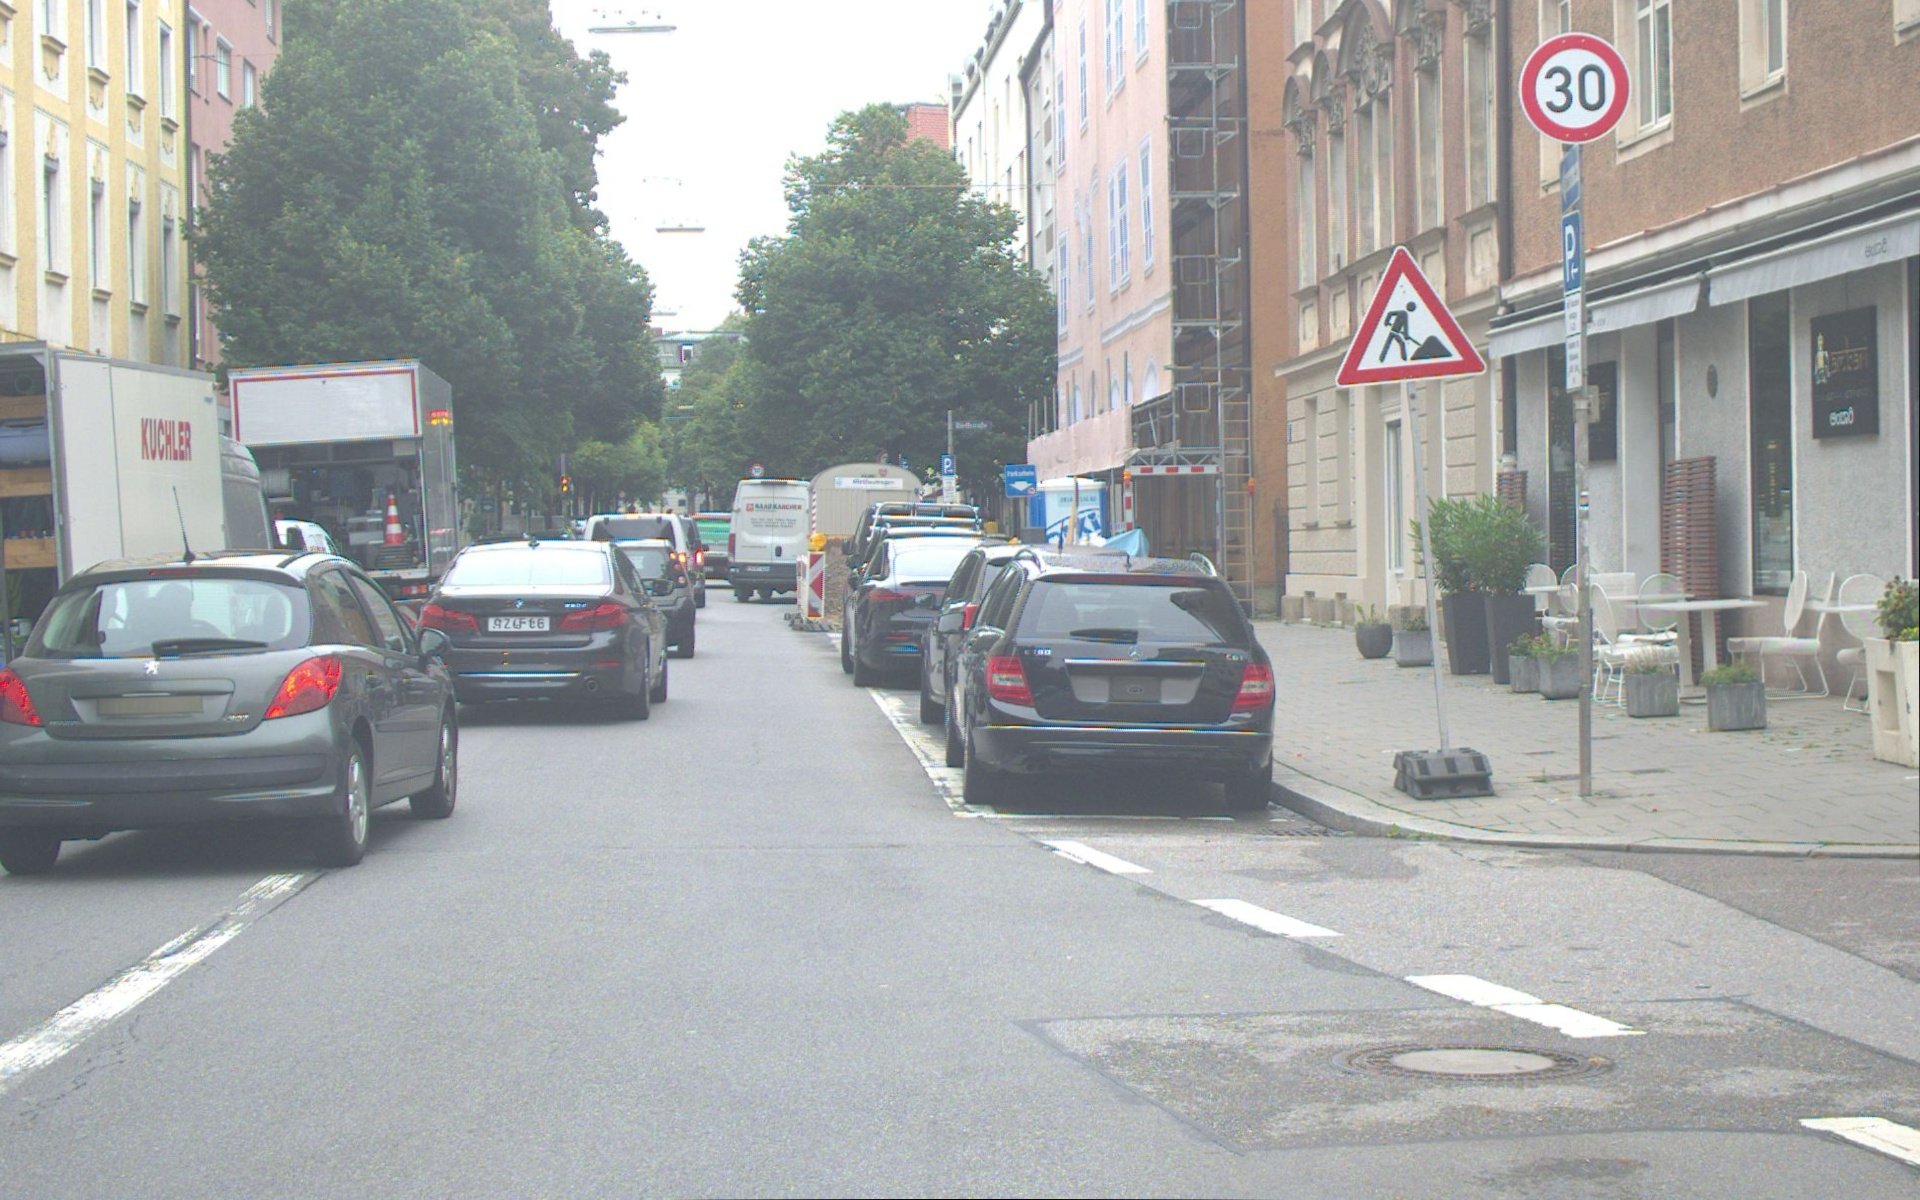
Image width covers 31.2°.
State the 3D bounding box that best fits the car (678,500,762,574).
[{"bbox_3d":[-6.325,-1.664,90.948,1.993,1.897,4.000,0,1,-1],"label":"car"}]

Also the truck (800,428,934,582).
[{"bbox_3d":[-1.908,-1.876,68.832,2.491,2.963,5.328,0,1,-3],"label":"truck"}]

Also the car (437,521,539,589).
[{"bbox_3d":[-10.404,-1.010,75.953,1.939,1.443,3.867,0,1,-3],"label":"car"}]

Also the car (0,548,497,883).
[{"bbox_3d":[-3.526,0.484,17.297,1.759,1.456,4.074,-1,1,1],"label":"car"}]

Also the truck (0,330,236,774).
[{"bbox_3d":[-7.385,-0.412,25.723,2.773,2.863,7.203,-1,2,-3],"label":"truck"}]

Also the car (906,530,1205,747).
[{"bbox_3d":[0.649,0.232,26.474,1.844,1.424,4.141,2,2,-4],"label":"car"}]

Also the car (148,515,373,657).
[{"bbox_3d":[-8.337,-0.198,41.312,1.990,1.605,4.141,0,1,-2],"label":"car"}]

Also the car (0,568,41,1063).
[{"bbox_3d":[-3.996,0.662,8.132,1.987,1.449,4.733,-1,0,5],"label":"car"}]

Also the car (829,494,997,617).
[{"bbox_3d":[-0.637,-0.595,43.089,1.990,1.424,4.141,-1,2,-2],"label":"car"}]

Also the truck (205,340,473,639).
[{"bbox_3d":[-8.698,-1.534,48.943,3.012,3.938,6.997,0,1,-4],"label":"truck"}]

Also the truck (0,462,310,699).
[{"bbox_3d":[-7.886,-0.225,33.942,2.286,2.164,4.807,0,1,-3],"label":"truck"}]

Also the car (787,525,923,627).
[{"bbox_3d":[-1.635,-0.401,52.812,1.990,1.424,4.141,-1,2,-2],"label":"car"}]

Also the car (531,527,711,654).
[{"bbox_3d":[-4.197,-0.158,43.156,1.990,1.424,4.141,-1,2,-2],"label":"car"}]

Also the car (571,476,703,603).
[{"bbox_3d":[-5.482,-1.076,58.798,1.990,2.068,4.141,-1,2,-2],"label":"car"}]

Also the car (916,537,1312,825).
[{"bbox_3d":[0.806,0.403,20.605,1.844,1.424,4.184,2,2,-4],"label":"car"}]

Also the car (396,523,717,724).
[{"bbox_3d":[-3.262,0.130,28.739,1.990,1.424,4.906,-1,2,1],"label":"car"}]

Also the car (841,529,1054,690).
[{"bbox_3d":[-0.197,0.045,35.217,1.844,1.424,4.307,2,2,-4],"label":"car"}]

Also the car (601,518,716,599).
[{"bbox_3d":[-5.751,-0.819,65.993,1.990,1.424,4.141,-1,2,-2],"label":"car"}]

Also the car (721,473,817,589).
[{"bbox_3d":[-4.176,-1.511,75.904,1.939,2.472,4.783,0,1,-1],"label":"car"}]
